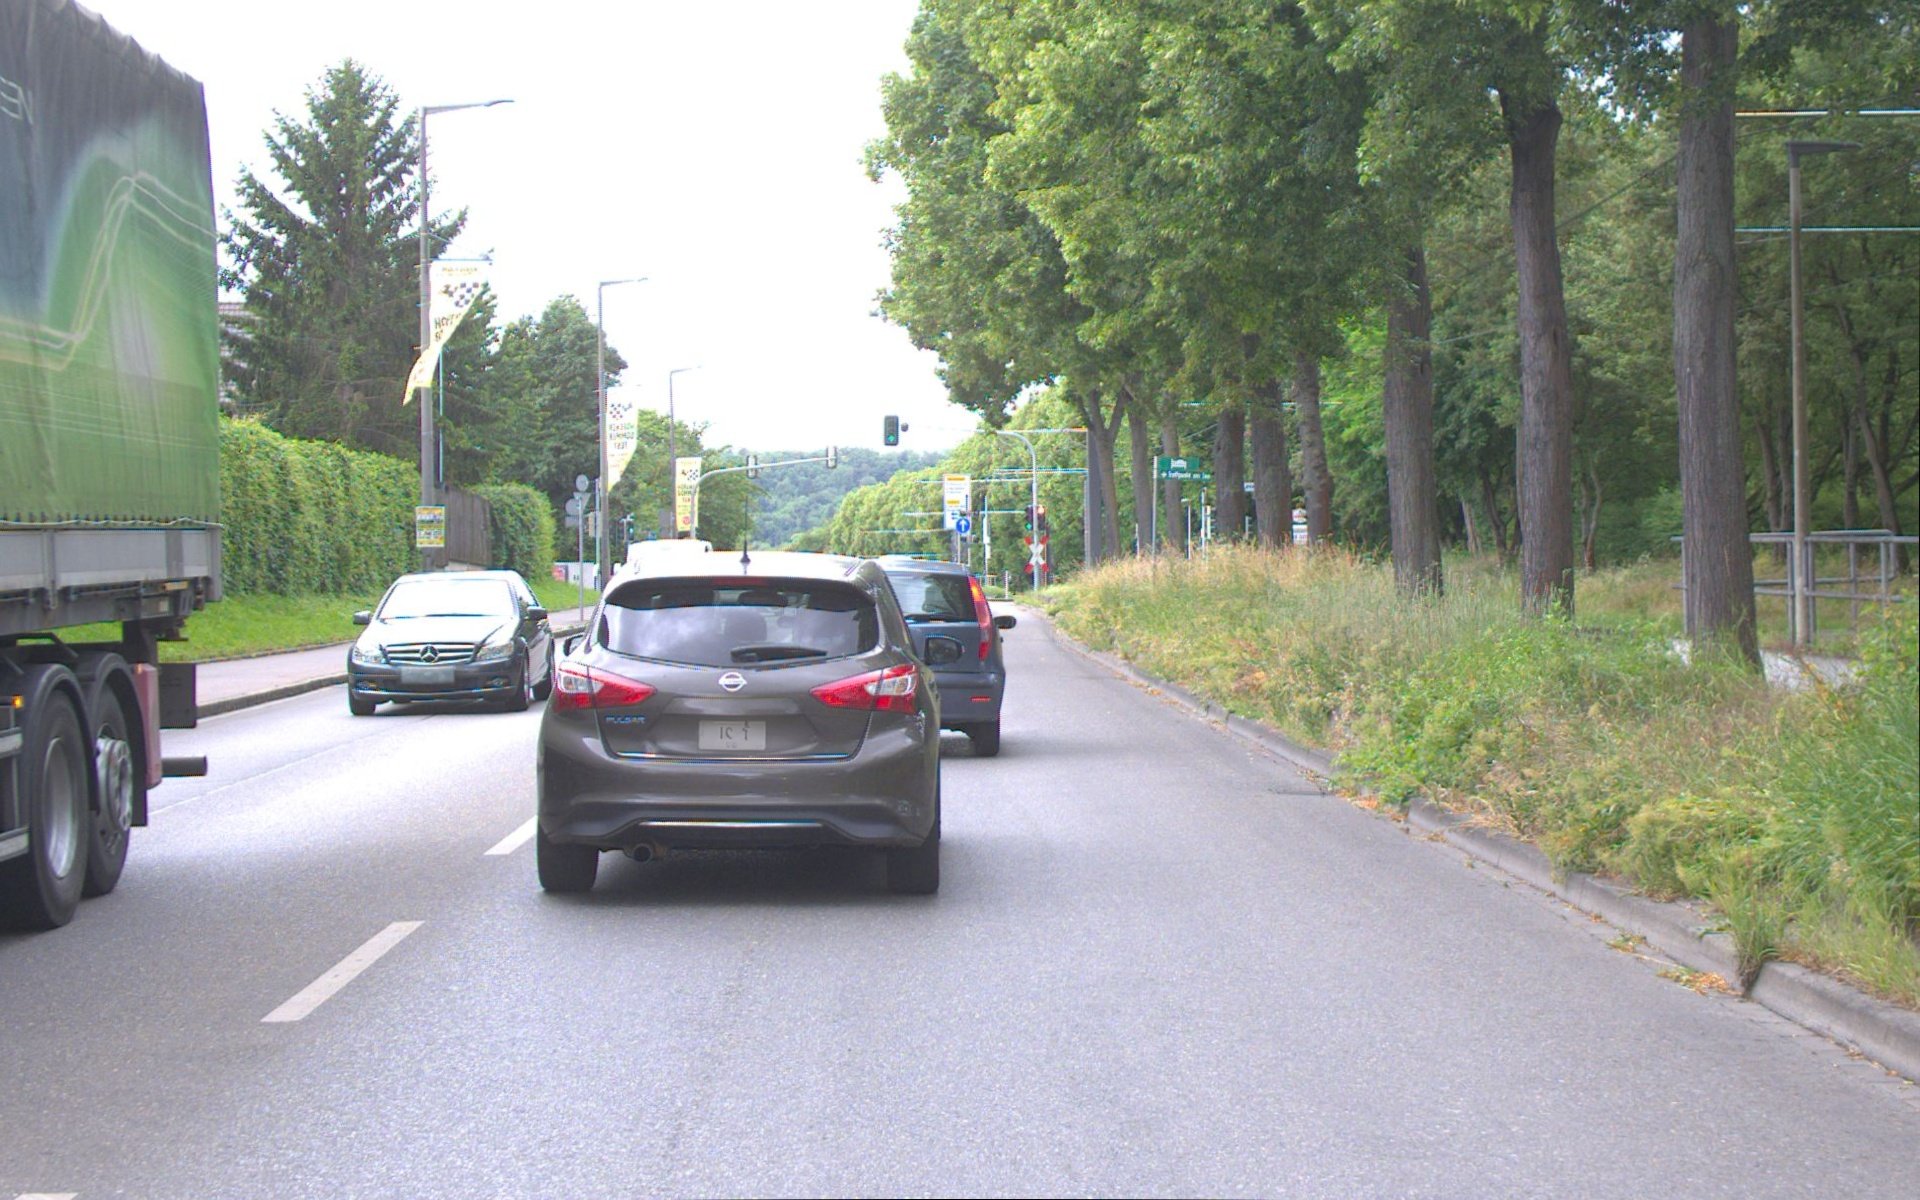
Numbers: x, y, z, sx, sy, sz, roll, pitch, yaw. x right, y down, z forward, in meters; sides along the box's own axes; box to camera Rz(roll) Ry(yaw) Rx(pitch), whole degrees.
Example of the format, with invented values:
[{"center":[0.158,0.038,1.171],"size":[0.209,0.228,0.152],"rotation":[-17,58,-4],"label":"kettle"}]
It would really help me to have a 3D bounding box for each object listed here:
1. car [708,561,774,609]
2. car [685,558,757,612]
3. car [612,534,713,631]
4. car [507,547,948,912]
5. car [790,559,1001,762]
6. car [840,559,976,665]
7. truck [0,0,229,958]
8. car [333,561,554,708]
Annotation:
[{"center":[-6.615,-0.472,104.202],"size":[1.886,1.378,4.491],"rotation":[-2,1,-3],"label":"car"},{"center":[-6.351,-0.414,91.666],"size":[1.650,1.343,4.478],"rotation":[-1,1,-1],"label":"car"},{"center":[-6.414,-0.413,74.555],"size":[1.906,1.925,4.912],"rotation":[-1,2,-2],"label":"car"},{"center":[-1.003,0.512,16.626],"size":[1.835,1.514,4.483],"rotation":[0,1,-1],"label":"car"},{"center":[-0.499,0.421,27.087],"size":[1.538,1.473,3.764],"rotation":[0,1,-1],"label":"car"},{"center":[-0.718,0.134,47.578],"size":[1.792,1.392,4.000],"rotation":[0,1,-1],"label":"car"},{"center":[-4.962,-0.606,12.429],"size":[2.549,4.030,10.621],"rotation":[-2,0,-2],"label":"truck"},{"center":[-5.279,0.308,35.626],"size":[1.732,1.370,4.240],"rotation":[-2,1,-2],"label":"car"}]
